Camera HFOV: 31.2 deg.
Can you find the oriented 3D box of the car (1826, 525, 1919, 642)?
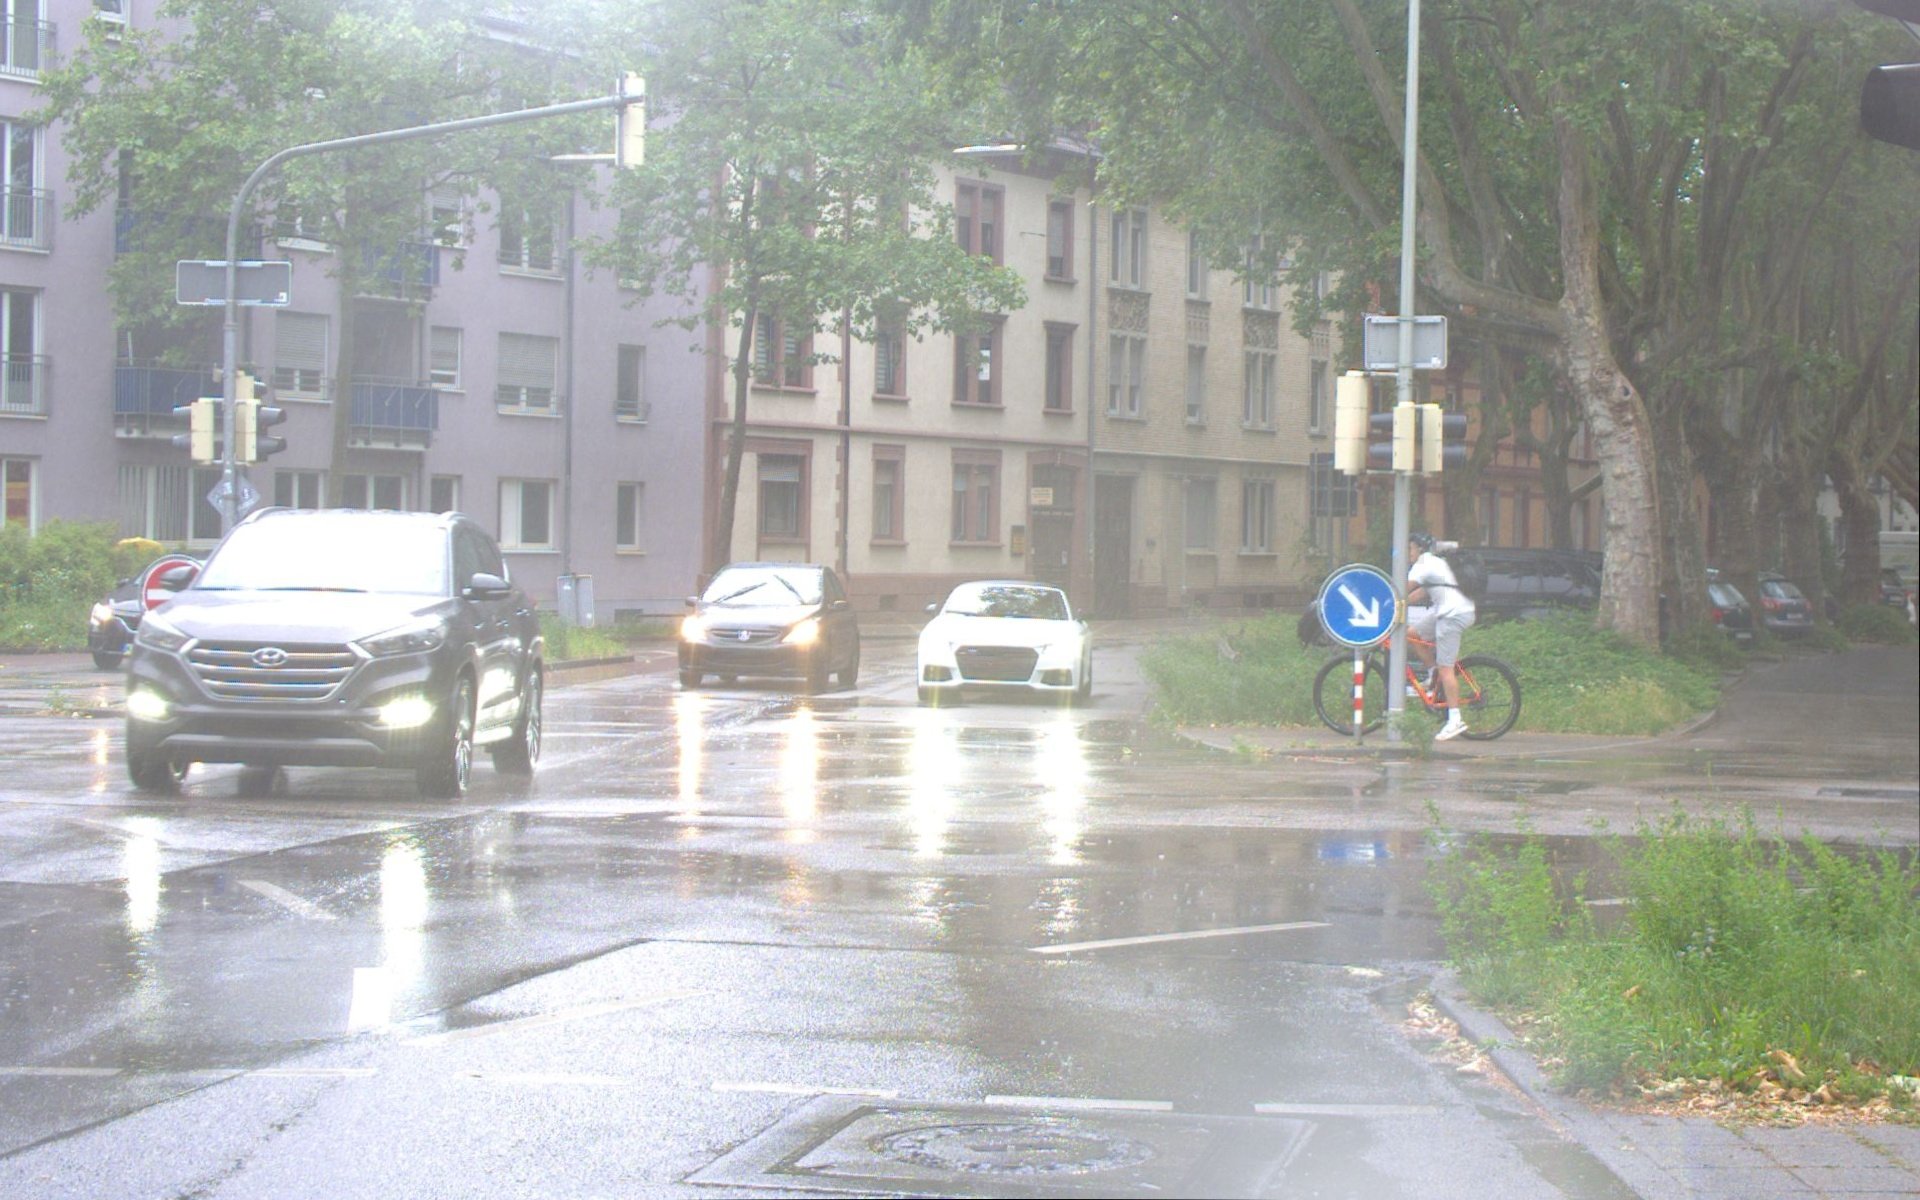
[{"bbox_3d":[24.392,-0.424,87.723,2.033,2.938,4.773,1,1,-21],"label":"car"}]

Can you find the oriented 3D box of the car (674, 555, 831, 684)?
[{"bbox_3d":[-2.449,0.201,41.235,1.714,1.454,3.748,1,1,-1],"label":"car"}]

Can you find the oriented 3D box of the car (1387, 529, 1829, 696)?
[{"bbox_3d":[6.165,0.097,32.711,3.989,1.481,1.999,1,1,12],"label":"car"}]

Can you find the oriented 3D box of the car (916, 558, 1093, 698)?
[{"bbox_3d":[0.530,0.278,39.108,1.884,1.431,4.000,1,1,1],"label":"car"}]

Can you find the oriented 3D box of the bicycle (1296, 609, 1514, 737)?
[{"bbox_3d":[3.930,0.639,30.407,1.873,1.077,0.657,1,0,8],"label":"bicycle"}]

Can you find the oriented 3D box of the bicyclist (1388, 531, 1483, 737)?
[{"bbox_3d":[4.194,0.292,30.370,0.795,1.780,0.697,1,0,8],"label":"bicyclist"}]

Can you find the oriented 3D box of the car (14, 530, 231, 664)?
[{"bbox_3d":[-10.049,-0.073,41.505,1.751,1.506,3.839,1,1,-2],"label":"car"}]

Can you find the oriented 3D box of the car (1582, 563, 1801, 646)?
[{"bbox_3d":[13.924,0.070,65.454,3.989,1.481,1.999,1,1,12],"label":"car"}]

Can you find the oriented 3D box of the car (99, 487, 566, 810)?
[{"bbox_3d":[-3.584,0.215,20.478,1.803,1.677,4.603,1,1,1],"label":"car"}]

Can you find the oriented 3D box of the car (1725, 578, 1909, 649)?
[{"bbox_3d":[19.572,0.299,78.661,3.989,1.542,1.999,1,1,12],"label":"car"}]
